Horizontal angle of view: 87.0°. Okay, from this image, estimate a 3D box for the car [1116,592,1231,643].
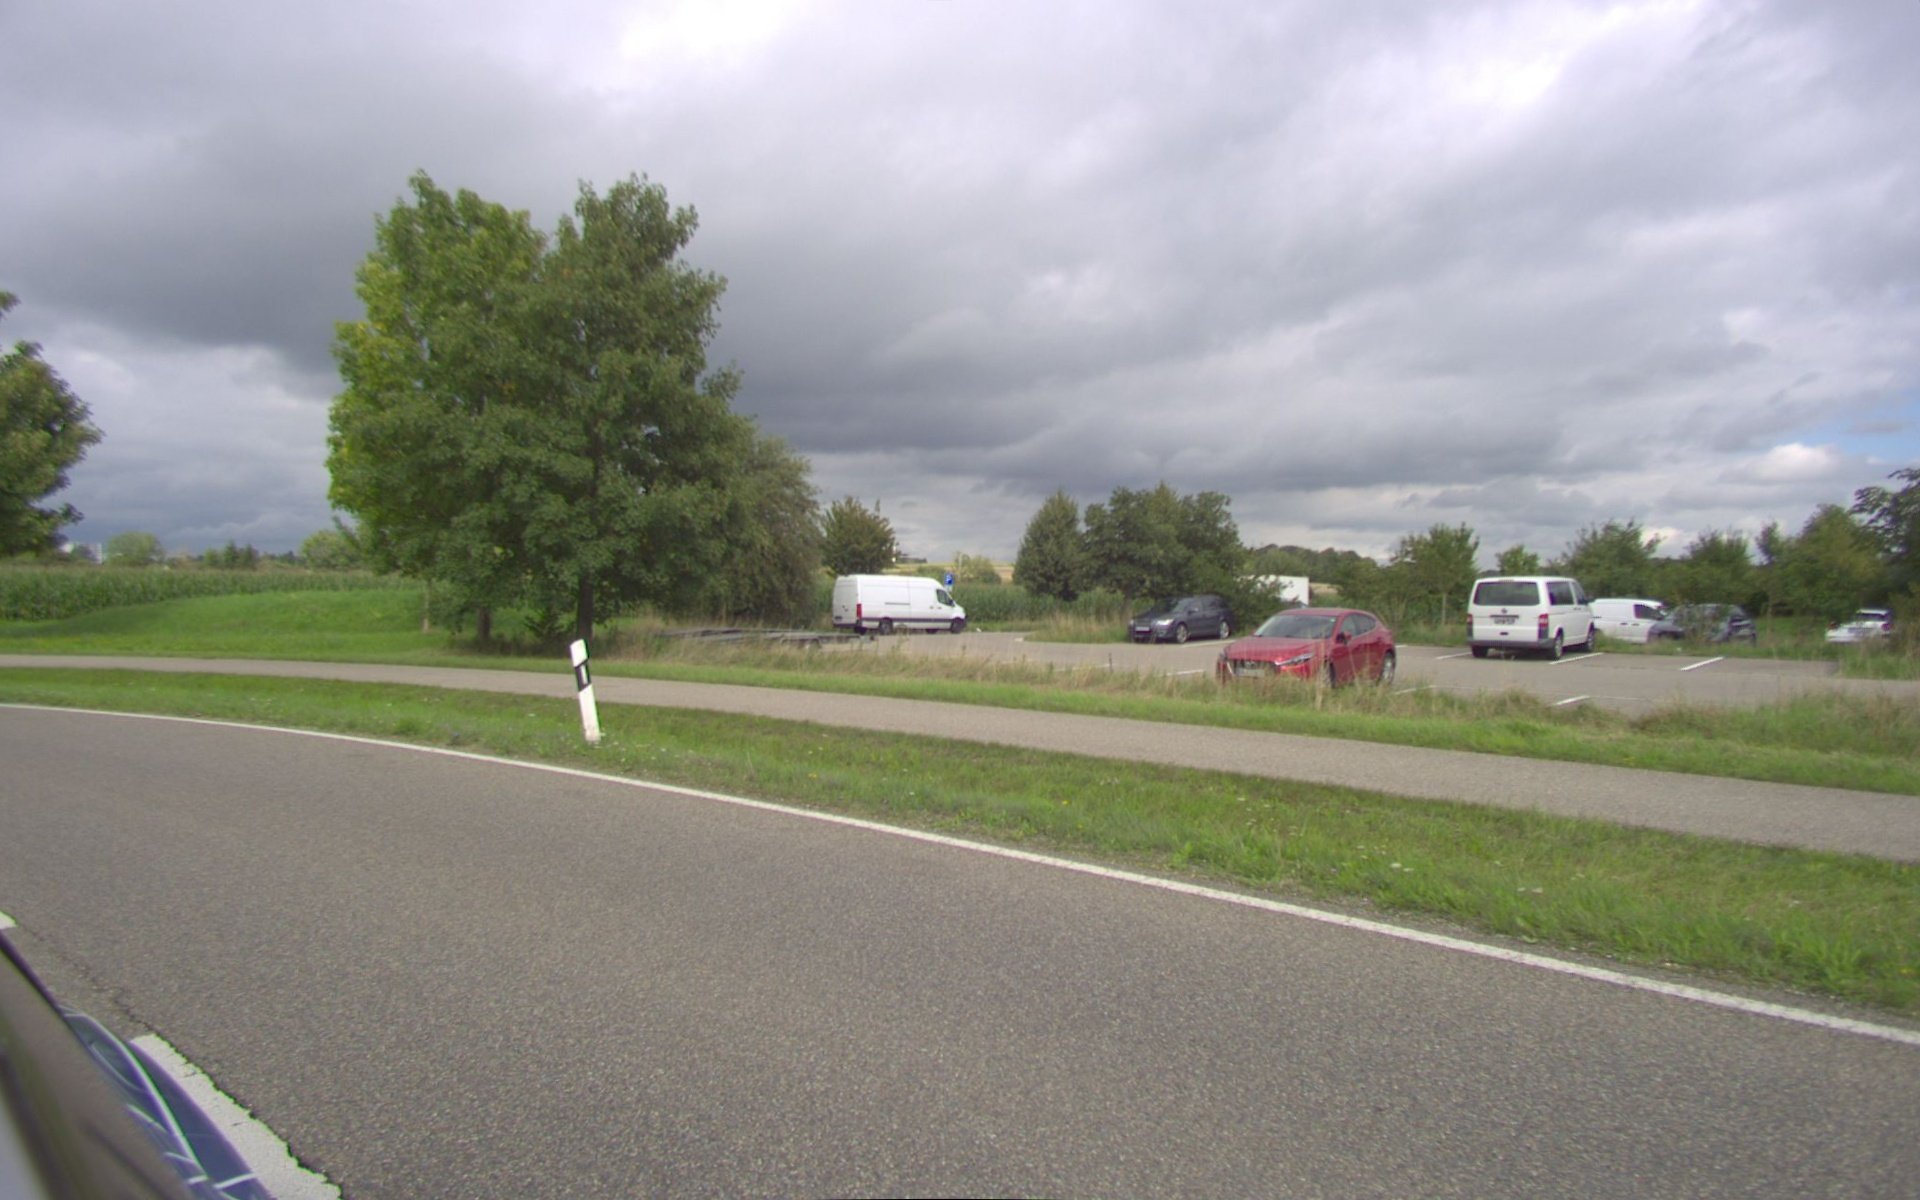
[{"bbox_3d":[6.892,0.517,32.495,1.795,1.536,3.942,0,0,44],"label":"car"}]

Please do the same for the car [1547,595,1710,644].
[{"bbox_3d":[23.879,0.670,36.302,1.966,1.635,4.463,0,0,-33],"label":"car"}]

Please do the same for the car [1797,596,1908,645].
[{"bbox_3d":[27.217,0.569,30.818,3.937,1.384,1.969,0,0,-40],"label":"car"}]

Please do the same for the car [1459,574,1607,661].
[{"bbox_3d":[14.327,0.352,25.202,2.062,1.940,4.628,0,1,45],"label":"car"}]

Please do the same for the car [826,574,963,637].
[{"bbox_3d":[-2.863,0.232,45.524,6.240,2.639,2.203,0,0,-44],"label":"car"}]

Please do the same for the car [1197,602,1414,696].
[{"bbox_3d":[6.097,0.748,17.587,4.313,1.427,1.815,0,0,-44],"label":"car"}]

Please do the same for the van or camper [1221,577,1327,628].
[{"bbox_3d":[15.791,0.050,50.714,5.956,2.364,2.289,-2,1,-41],"label":"van or camper"}]
